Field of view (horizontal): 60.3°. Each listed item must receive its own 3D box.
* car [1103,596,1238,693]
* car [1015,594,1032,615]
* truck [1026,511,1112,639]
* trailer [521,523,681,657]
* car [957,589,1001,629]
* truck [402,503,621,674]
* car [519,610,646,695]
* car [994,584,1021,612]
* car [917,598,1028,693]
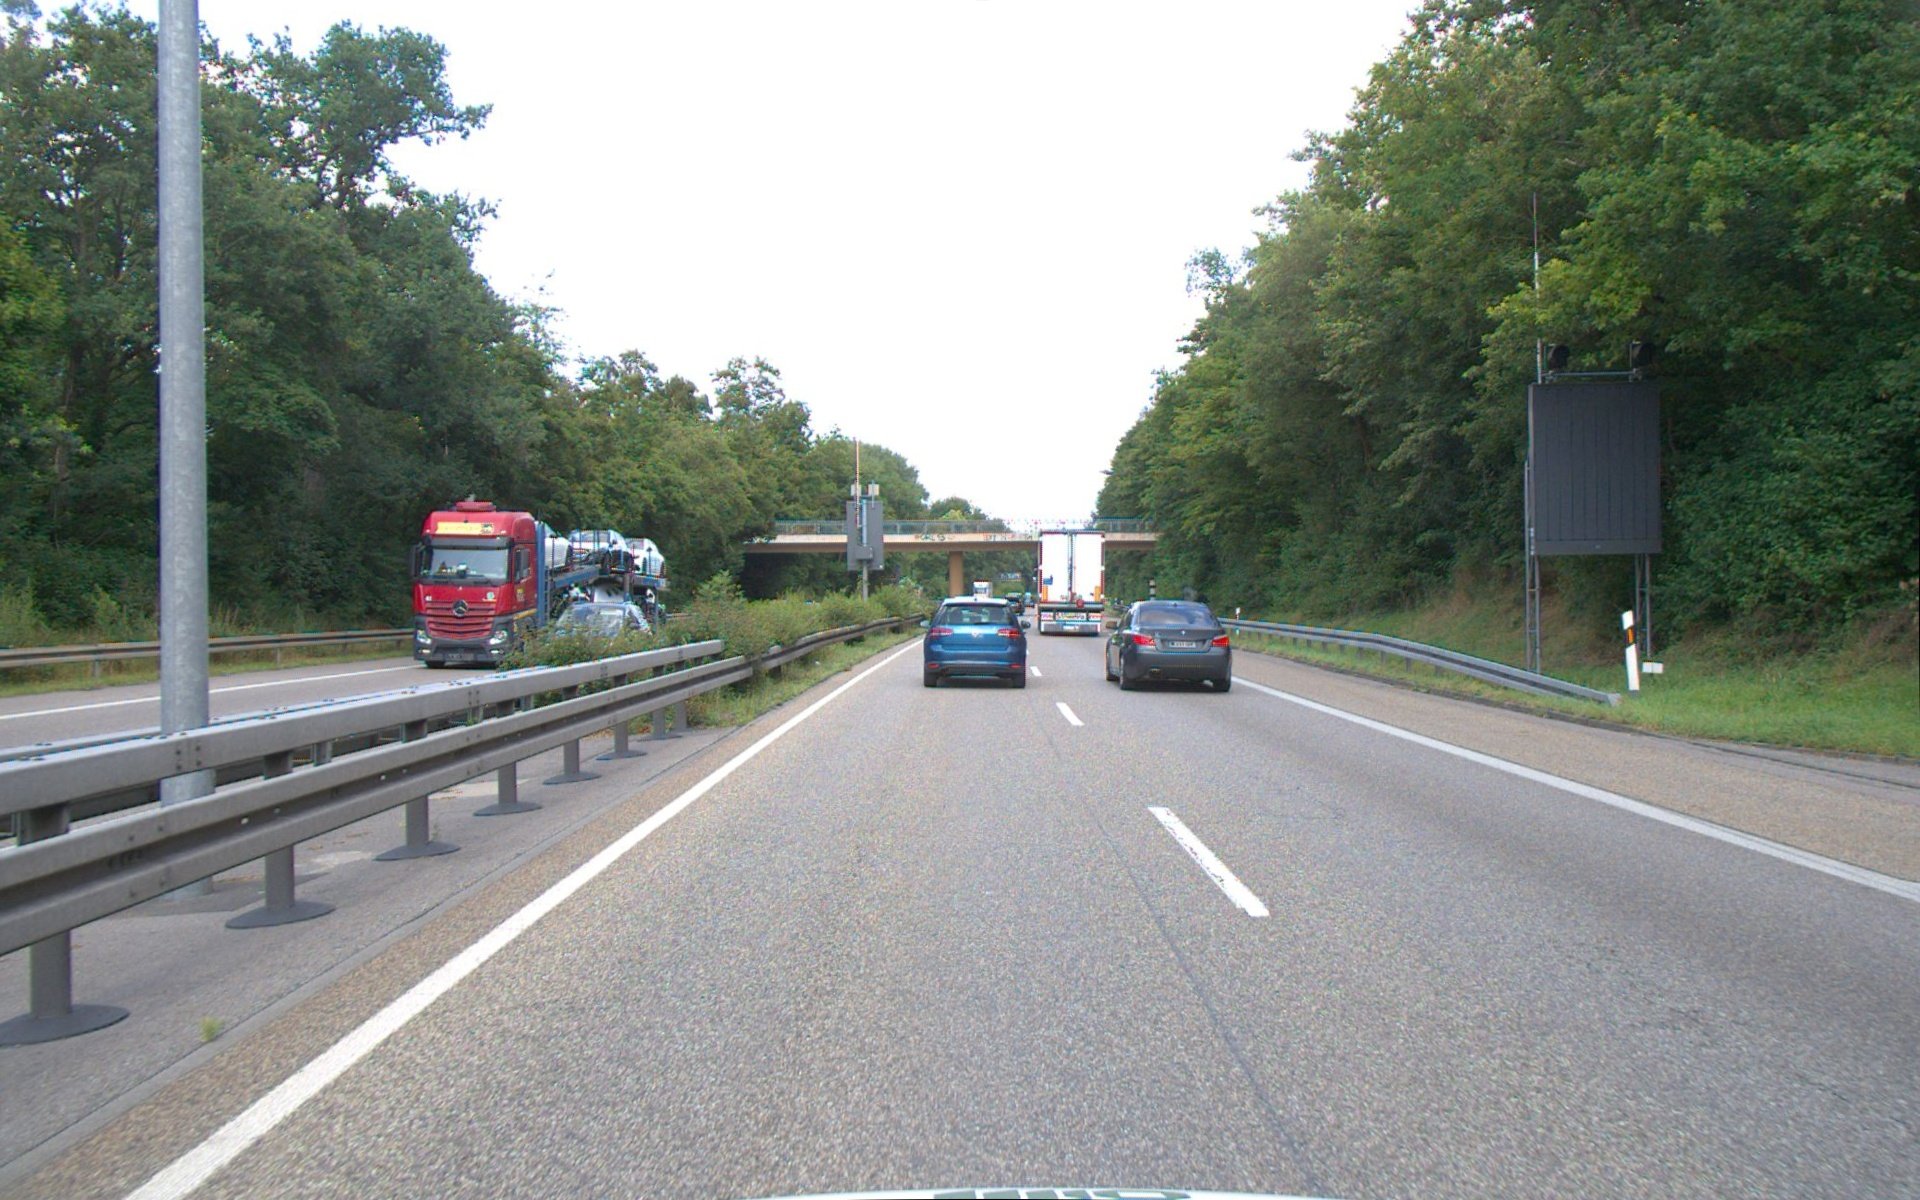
[{"bbox_3d":[3.503,0.720,28.317,1.738,1.501,4.880,0,-1,1],"label":"car"},{"bbox_3d":[7.595,0.534,197.200,1.952,2.368,4.443,-1,0,2],"label":"car"},{"bbox_3d":[4.390,-0.988,68.394,3.174,4.798,11.011,-1,0,3],"label":"truck"},{"bbox_3d":[-11.509,-0.318,54.140,2.878,3.900,10.310,-2,0,0],"label":"trailer"},{"bbox_3d":[0.789,0.325,65.670,1.631,1.526,4.153,0,0,2],"label":"car"},{"bbox_3d":[-11.556,-0.292,43.873,2.894,3.923,10.323,-2,0,0],"label":"truck"},{"bbox_3d":[-7.724,1.036,34.218,1.639,1.578,4.263,-1,0,0],"label":"car"},{"bbox_3d":[3.714,-0.161,128.116,1.913,2.049,4.002,-1,0,3],"label":"car"},{"bbox_3d":[0.276,0.731,28.564,1.669,1.495,4.002,0,0,4],"label":"car"}]
